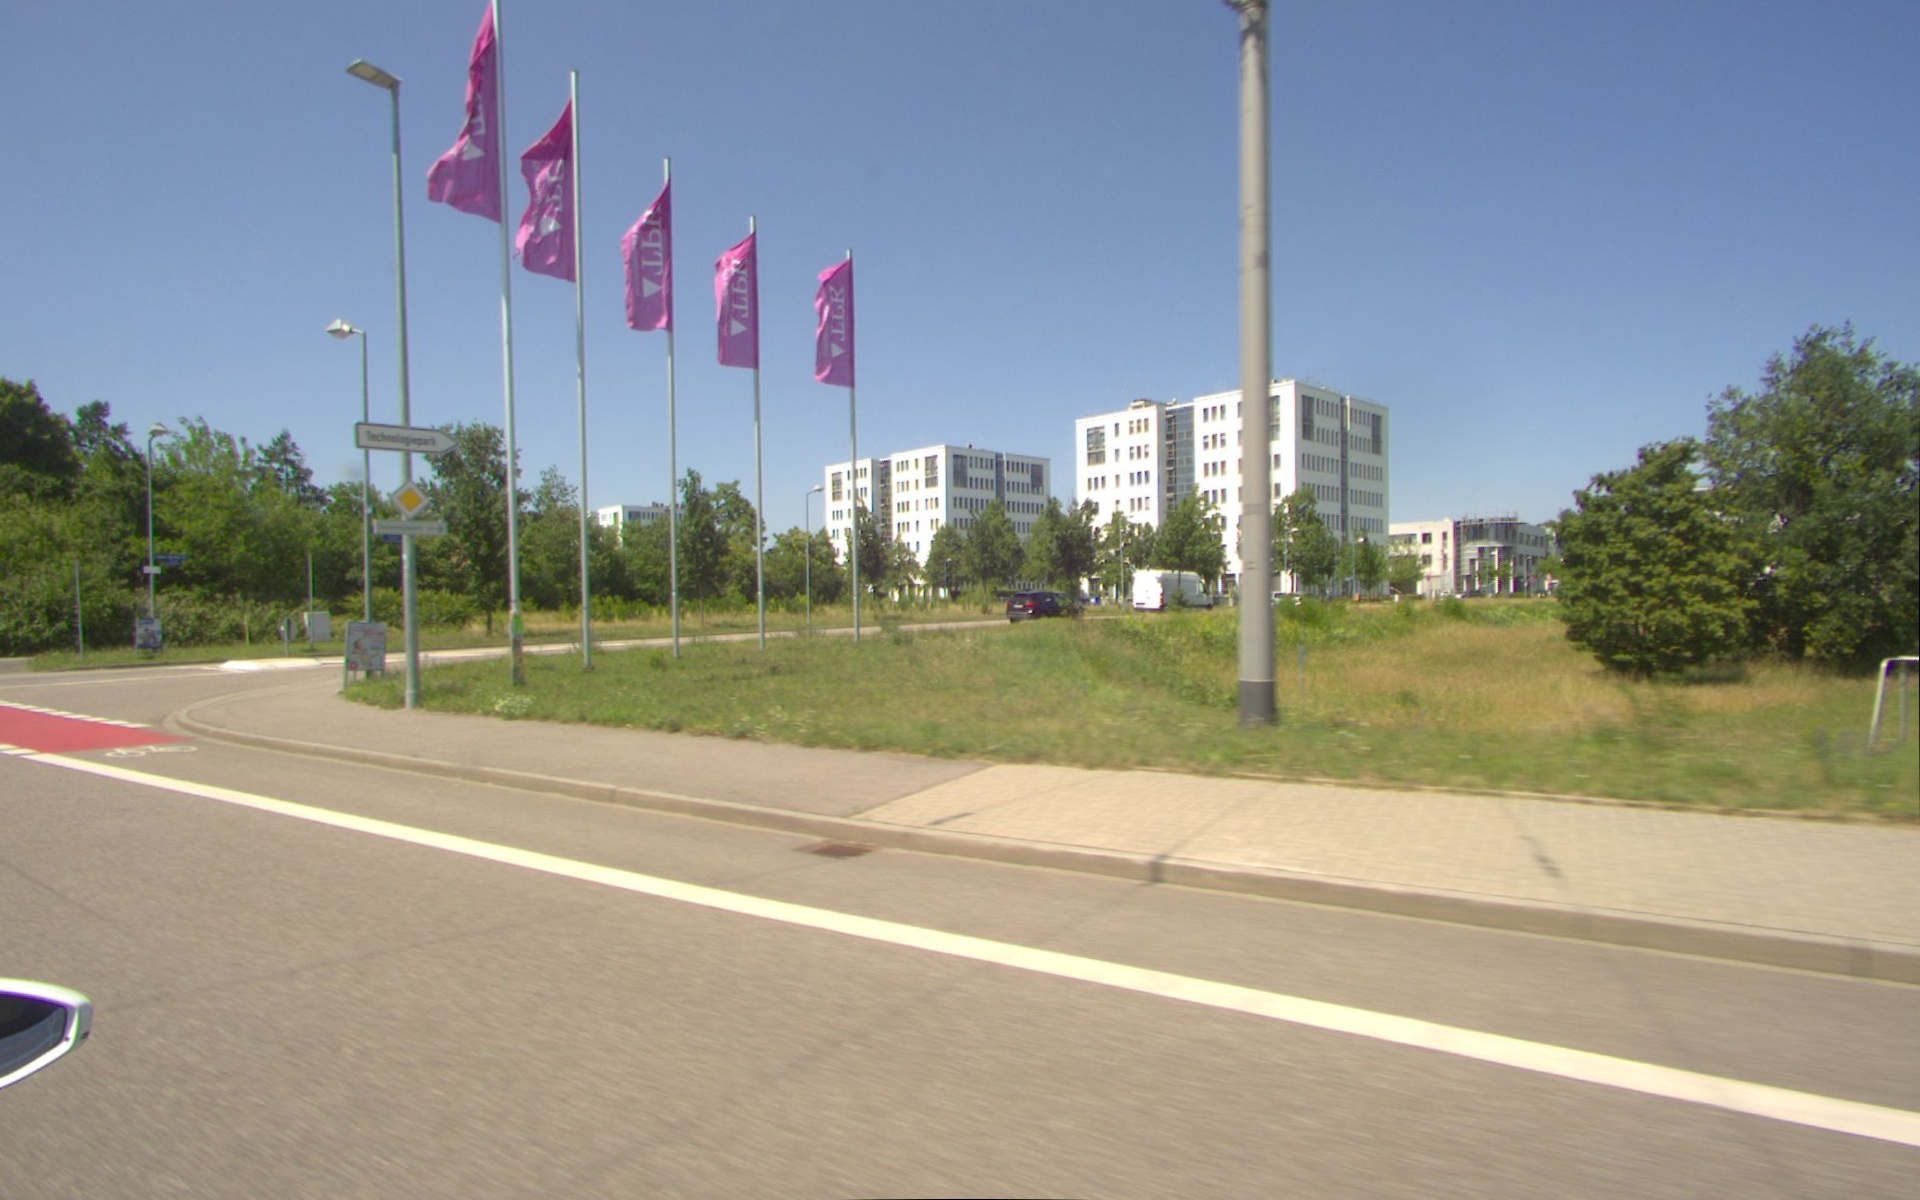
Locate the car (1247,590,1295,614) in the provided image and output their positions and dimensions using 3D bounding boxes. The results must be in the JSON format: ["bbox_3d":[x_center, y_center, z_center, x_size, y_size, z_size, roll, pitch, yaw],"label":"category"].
[{"bbox_3d":[21.143,0.156,68.053,1.687,1.553,3.596,0,-1,43],"label":"car"}]

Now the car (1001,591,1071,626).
[{"bbox_3d":[3.656,0.431,47.832,1.684,1.553,3.603,0,-1,37],"label":"car"}]

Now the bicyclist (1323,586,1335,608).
[{"bbox_3d":[29.048,-0.241,78.853,0.602,1.647,0.686,3,4,42],"label":"bicyclist"}]

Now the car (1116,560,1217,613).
[{"bbox_3d":[12.038,-0.710,57.972,2.639,2.838,6.796,-1,-1,42],"label":"car"}]

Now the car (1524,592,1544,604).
[{"bbox_3d":[82.680,-0.239,144.204,1.687,1.553,3.596,3,1,43],"label":"car"}]

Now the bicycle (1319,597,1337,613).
[{"bbox_3d":[29.001,0.400,78.846,0.606,1.196,1.948,3,3,42],"label":"bicycle"}]

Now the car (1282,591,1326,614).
[{"bbox_3d":[24.670,0.207,71.776,1.687,1.553,3.596,0,-1,43],"label":"car"}]
